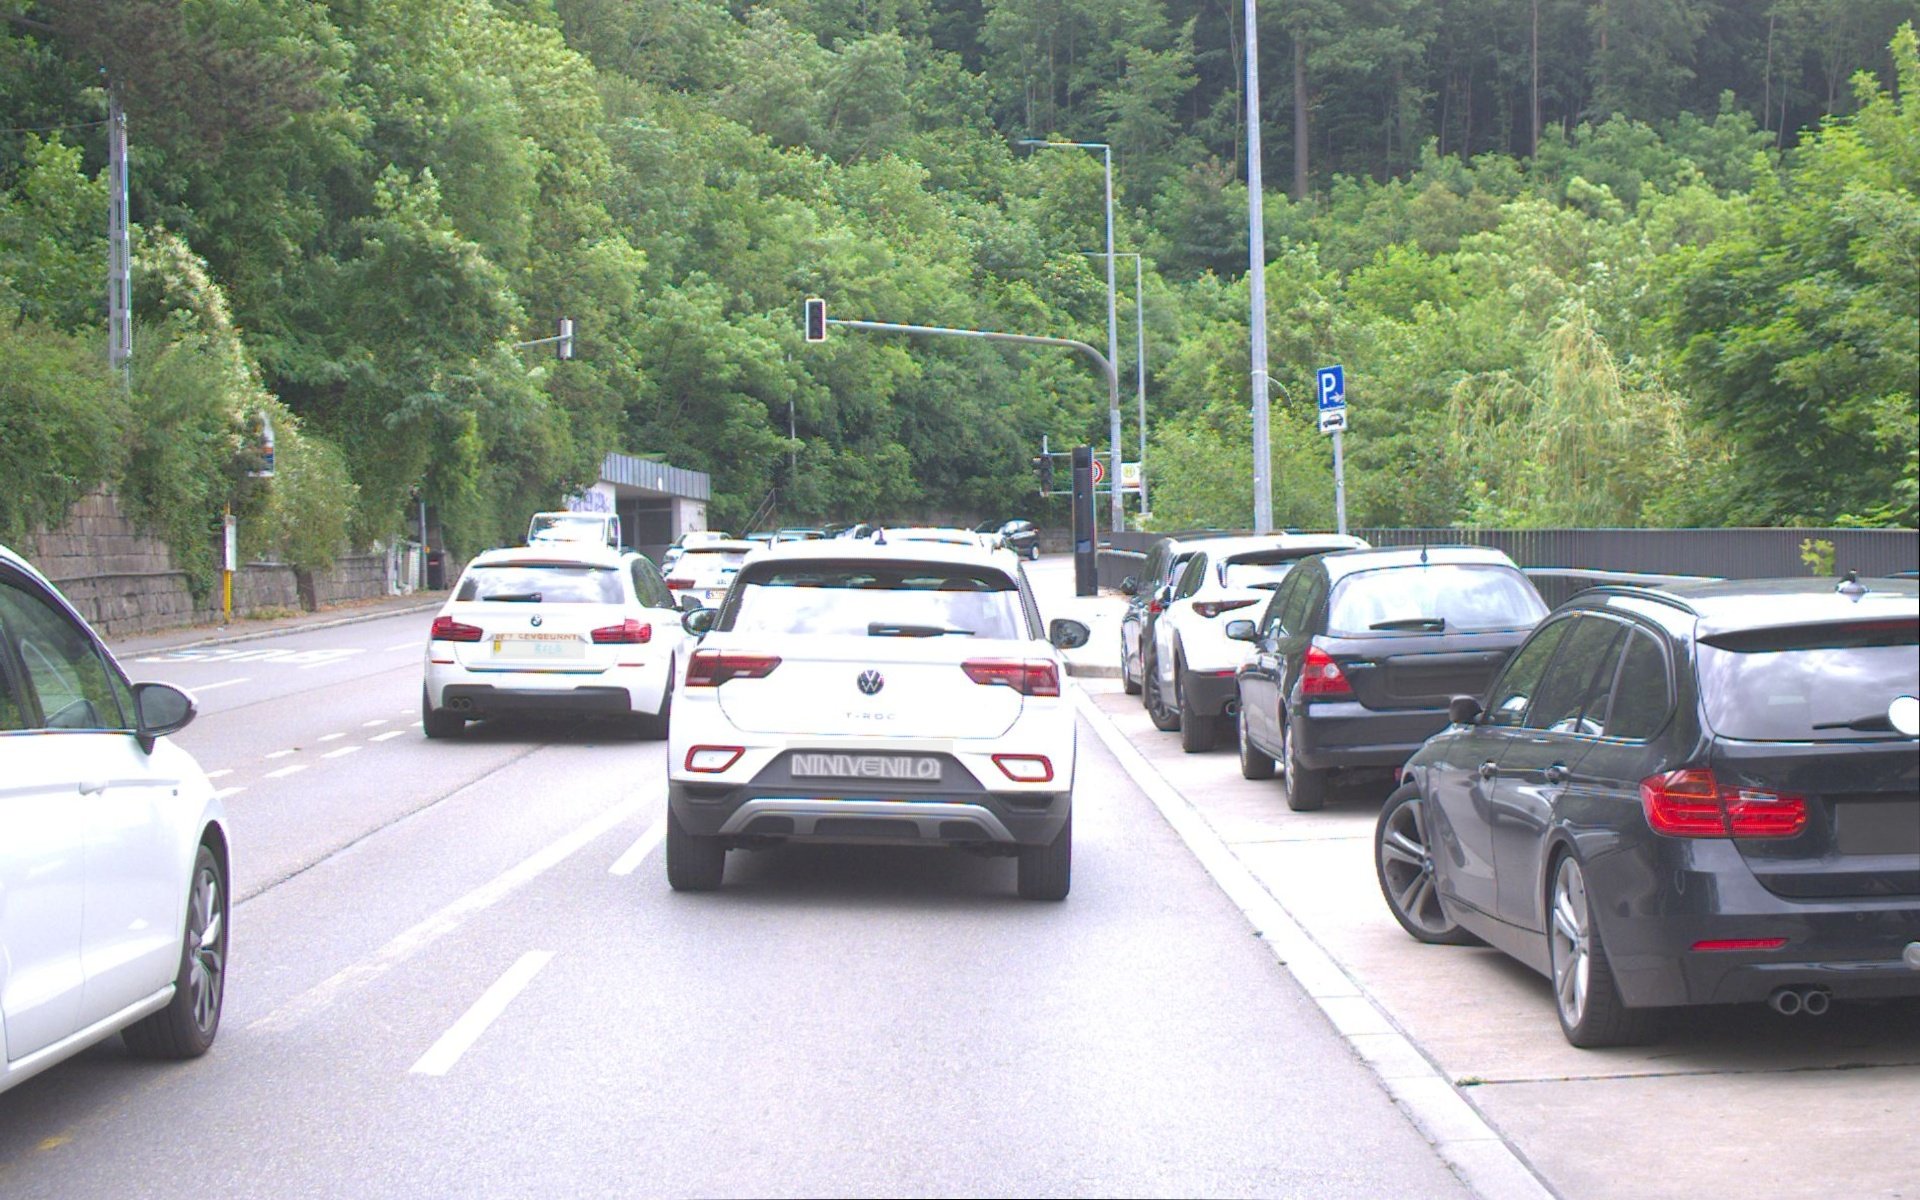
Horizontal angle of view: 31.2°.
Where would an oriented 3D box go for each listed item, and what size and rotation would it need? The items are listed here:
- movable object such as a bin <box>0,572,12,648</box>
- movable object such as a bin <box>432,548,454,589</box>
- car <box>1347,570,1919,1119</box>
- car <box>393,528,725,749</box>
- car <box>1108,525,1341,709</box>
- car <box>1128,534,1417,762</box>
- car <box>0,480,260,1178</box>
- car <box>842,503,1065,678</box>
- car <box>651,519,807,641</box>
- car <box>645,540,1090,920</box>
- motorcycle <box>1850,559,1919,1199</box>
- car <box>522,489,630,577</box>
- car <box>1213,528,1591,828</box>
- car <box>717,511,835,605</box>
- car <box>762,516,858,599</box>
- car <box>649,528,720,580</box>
[{"bbox_3d":[-12.086,0.119,42.753,0.479,0.933,0.366,2,1,-4],"label":"movable object such as a bin"},{"bbox_3d":[-12.230,-0.744,81.278,0.427,0.947,0.479,2,1,-2],"label":"movable object such as a bin"},{"bbox_3d":[2.549,0.655,11.657,1.823,1.396,4.320,-2,1,-1],"label":"car"},{"bbox_3d":[-3.055,0.229,27.133,1.993,1.552,4.681,1,1,1],"label":"car"},{"bbox_3d":[2.438,0.105,32.610,1.757,1.538,4.427,-3,1,0],"label":"car"},{"bbox_3d":[2.306,0.305,26.398,1.726,1.563,4.624,-1,1,0],"label":"car"},{"bbox_3d":[-3.001,0.484,8.524,1.720,1.549,4.276,0,1,-1],"label":"car"},{"bbox_3d":[-0.013,-0.123,39.437,1.994,1.837,4.149,2,1,7],"label":"car"},{"bbox_3d":[-3.206,-0.291,48.375,1.862,1.589,4.000,2,1,0],"label":"car"},{"bbox_3d":[-0.510,0.510,16.163,1.813,1.534,4.009,-1,1,-4],"label":"car"},{"bbox_3d":[2.690,0.643,7.675,0.771,1.462,2.501,1,1,28],"label":"motorcycle"},{"bbox_3d":[-8.928,-1.564,80.219,1.921,1.998,5.356,0,1,0],"label":"car"},{"bbox_3d":[2.584,0.387,21.008,1.659,1.566,4.255,-3,1,0],"label":"car"},{"bbox_3d":[-3.501,-0.819,65.888,1.993,1.735,4.000,1,1,1],"label":"car"},{"bbox_3d":[-3.446,-0.989,79.541,1.993,1.858,4.000,1,1,0],"label":"car"},{"bbox_3d":[-8.505,-1.444,106.359,1.676,1.437,4.233,2,2,2],"label":"car"}]
